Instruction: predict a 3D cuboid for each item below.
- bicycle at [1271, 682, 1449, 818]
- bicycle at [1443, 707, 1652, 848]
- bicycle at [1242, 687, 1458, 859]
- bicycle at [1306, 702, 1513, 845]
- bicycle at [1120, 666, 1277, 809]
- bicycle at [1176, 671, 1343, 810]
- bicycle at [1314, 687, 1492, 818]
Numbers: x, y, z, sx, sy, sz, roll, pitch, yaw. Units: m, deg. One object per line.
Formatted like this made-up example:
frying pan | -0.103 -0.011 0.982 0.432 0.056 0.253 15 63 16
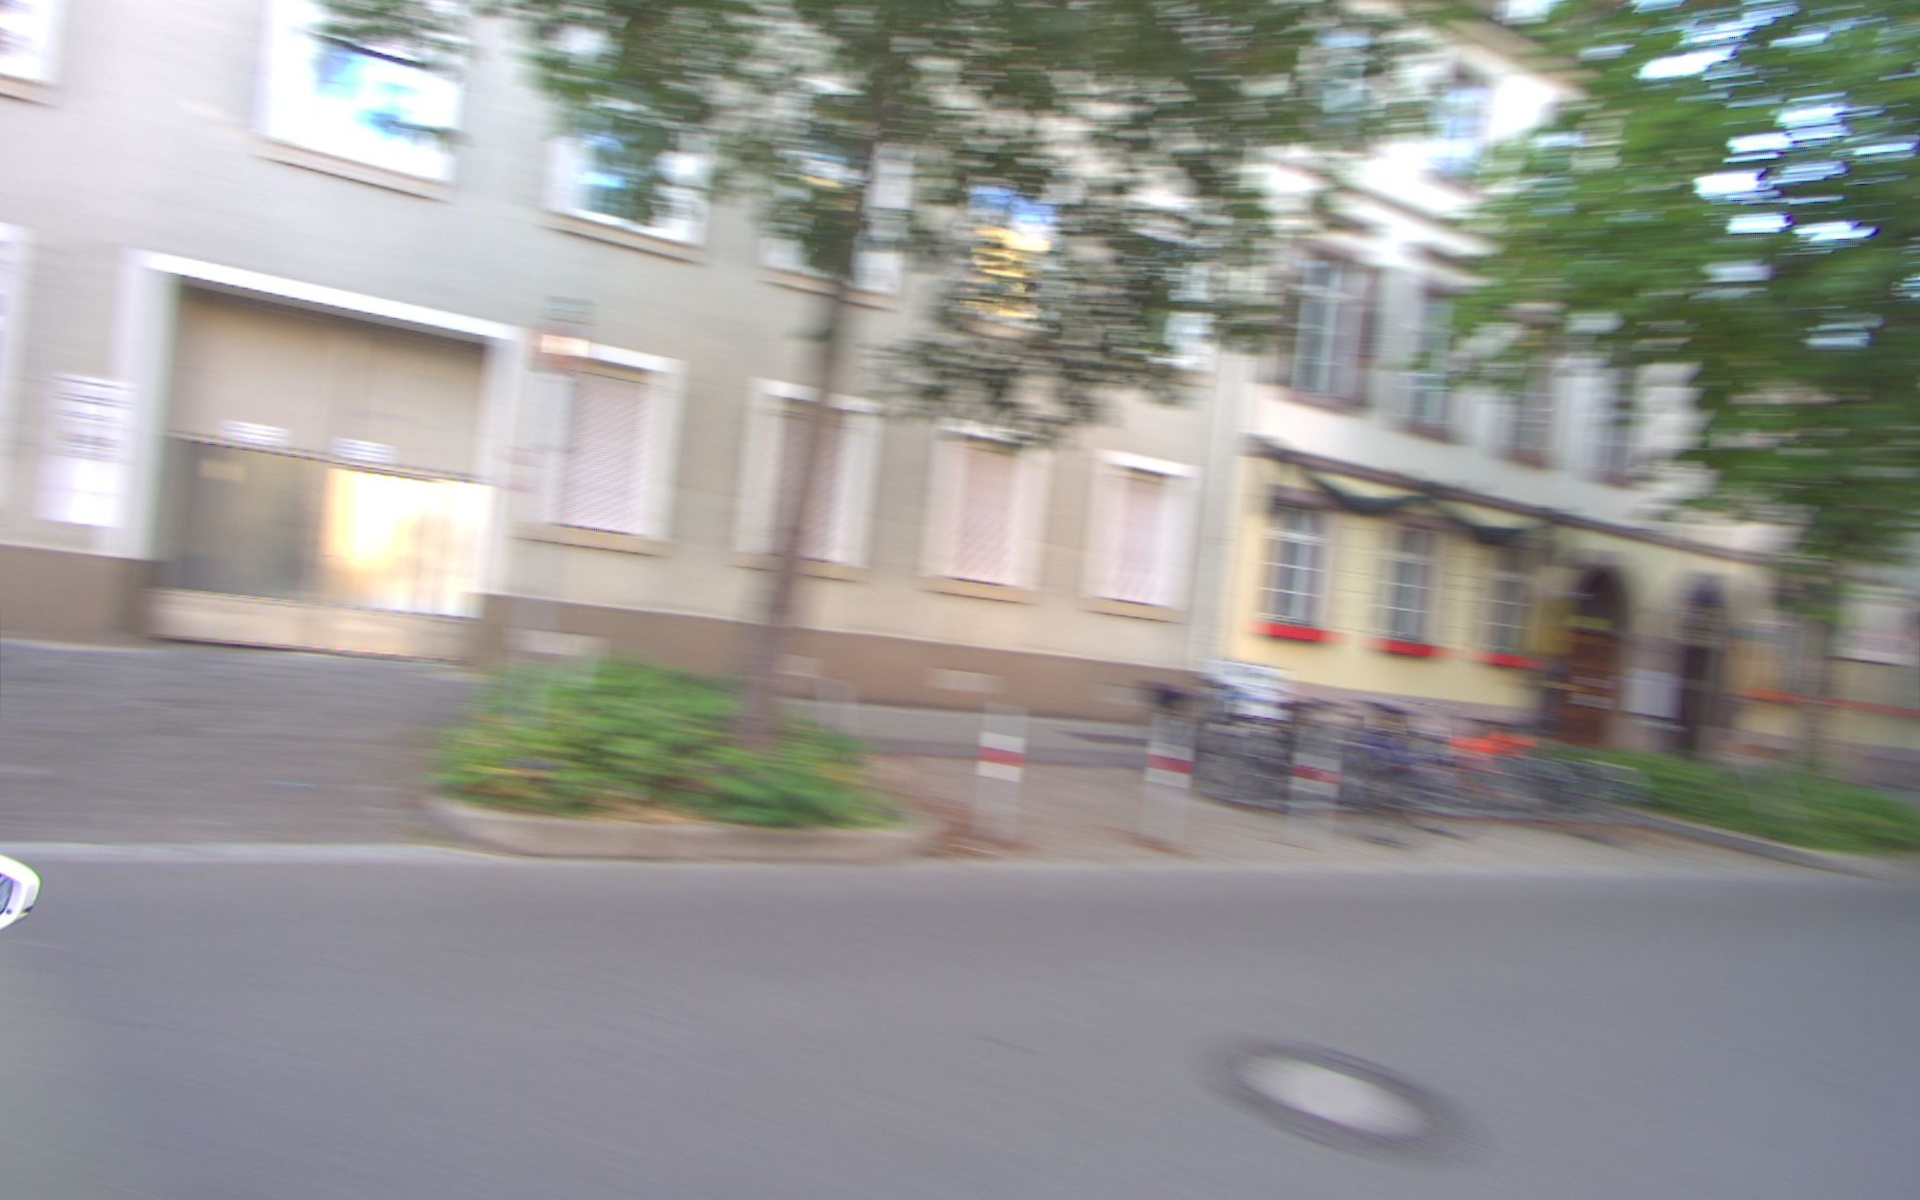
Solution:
bicycle | 4.378 1.612 11.202 0.416 1.159 2.031 6 0 -24
bicycle | 6.395 1.899 11.094 0.416 1.159 2.031 6 0 -24
bicycle | 3.445 1.495 9.121 0.440 1.159 2.032 6 0 -22
bicycle | 4.367 1.659 9.970 0.416 1.016 2.031 6 0 -24
bicycle | 2.415 1.370 10.482 0.440 1.159 2.033 6 0 -19
bicycle | 3.176 1.469 10.921 0.416 1.159 2.031 6 0 -24
bicycle | 5.050 1.708 11.630 0.416 1.159 2.031 6 0 -24
